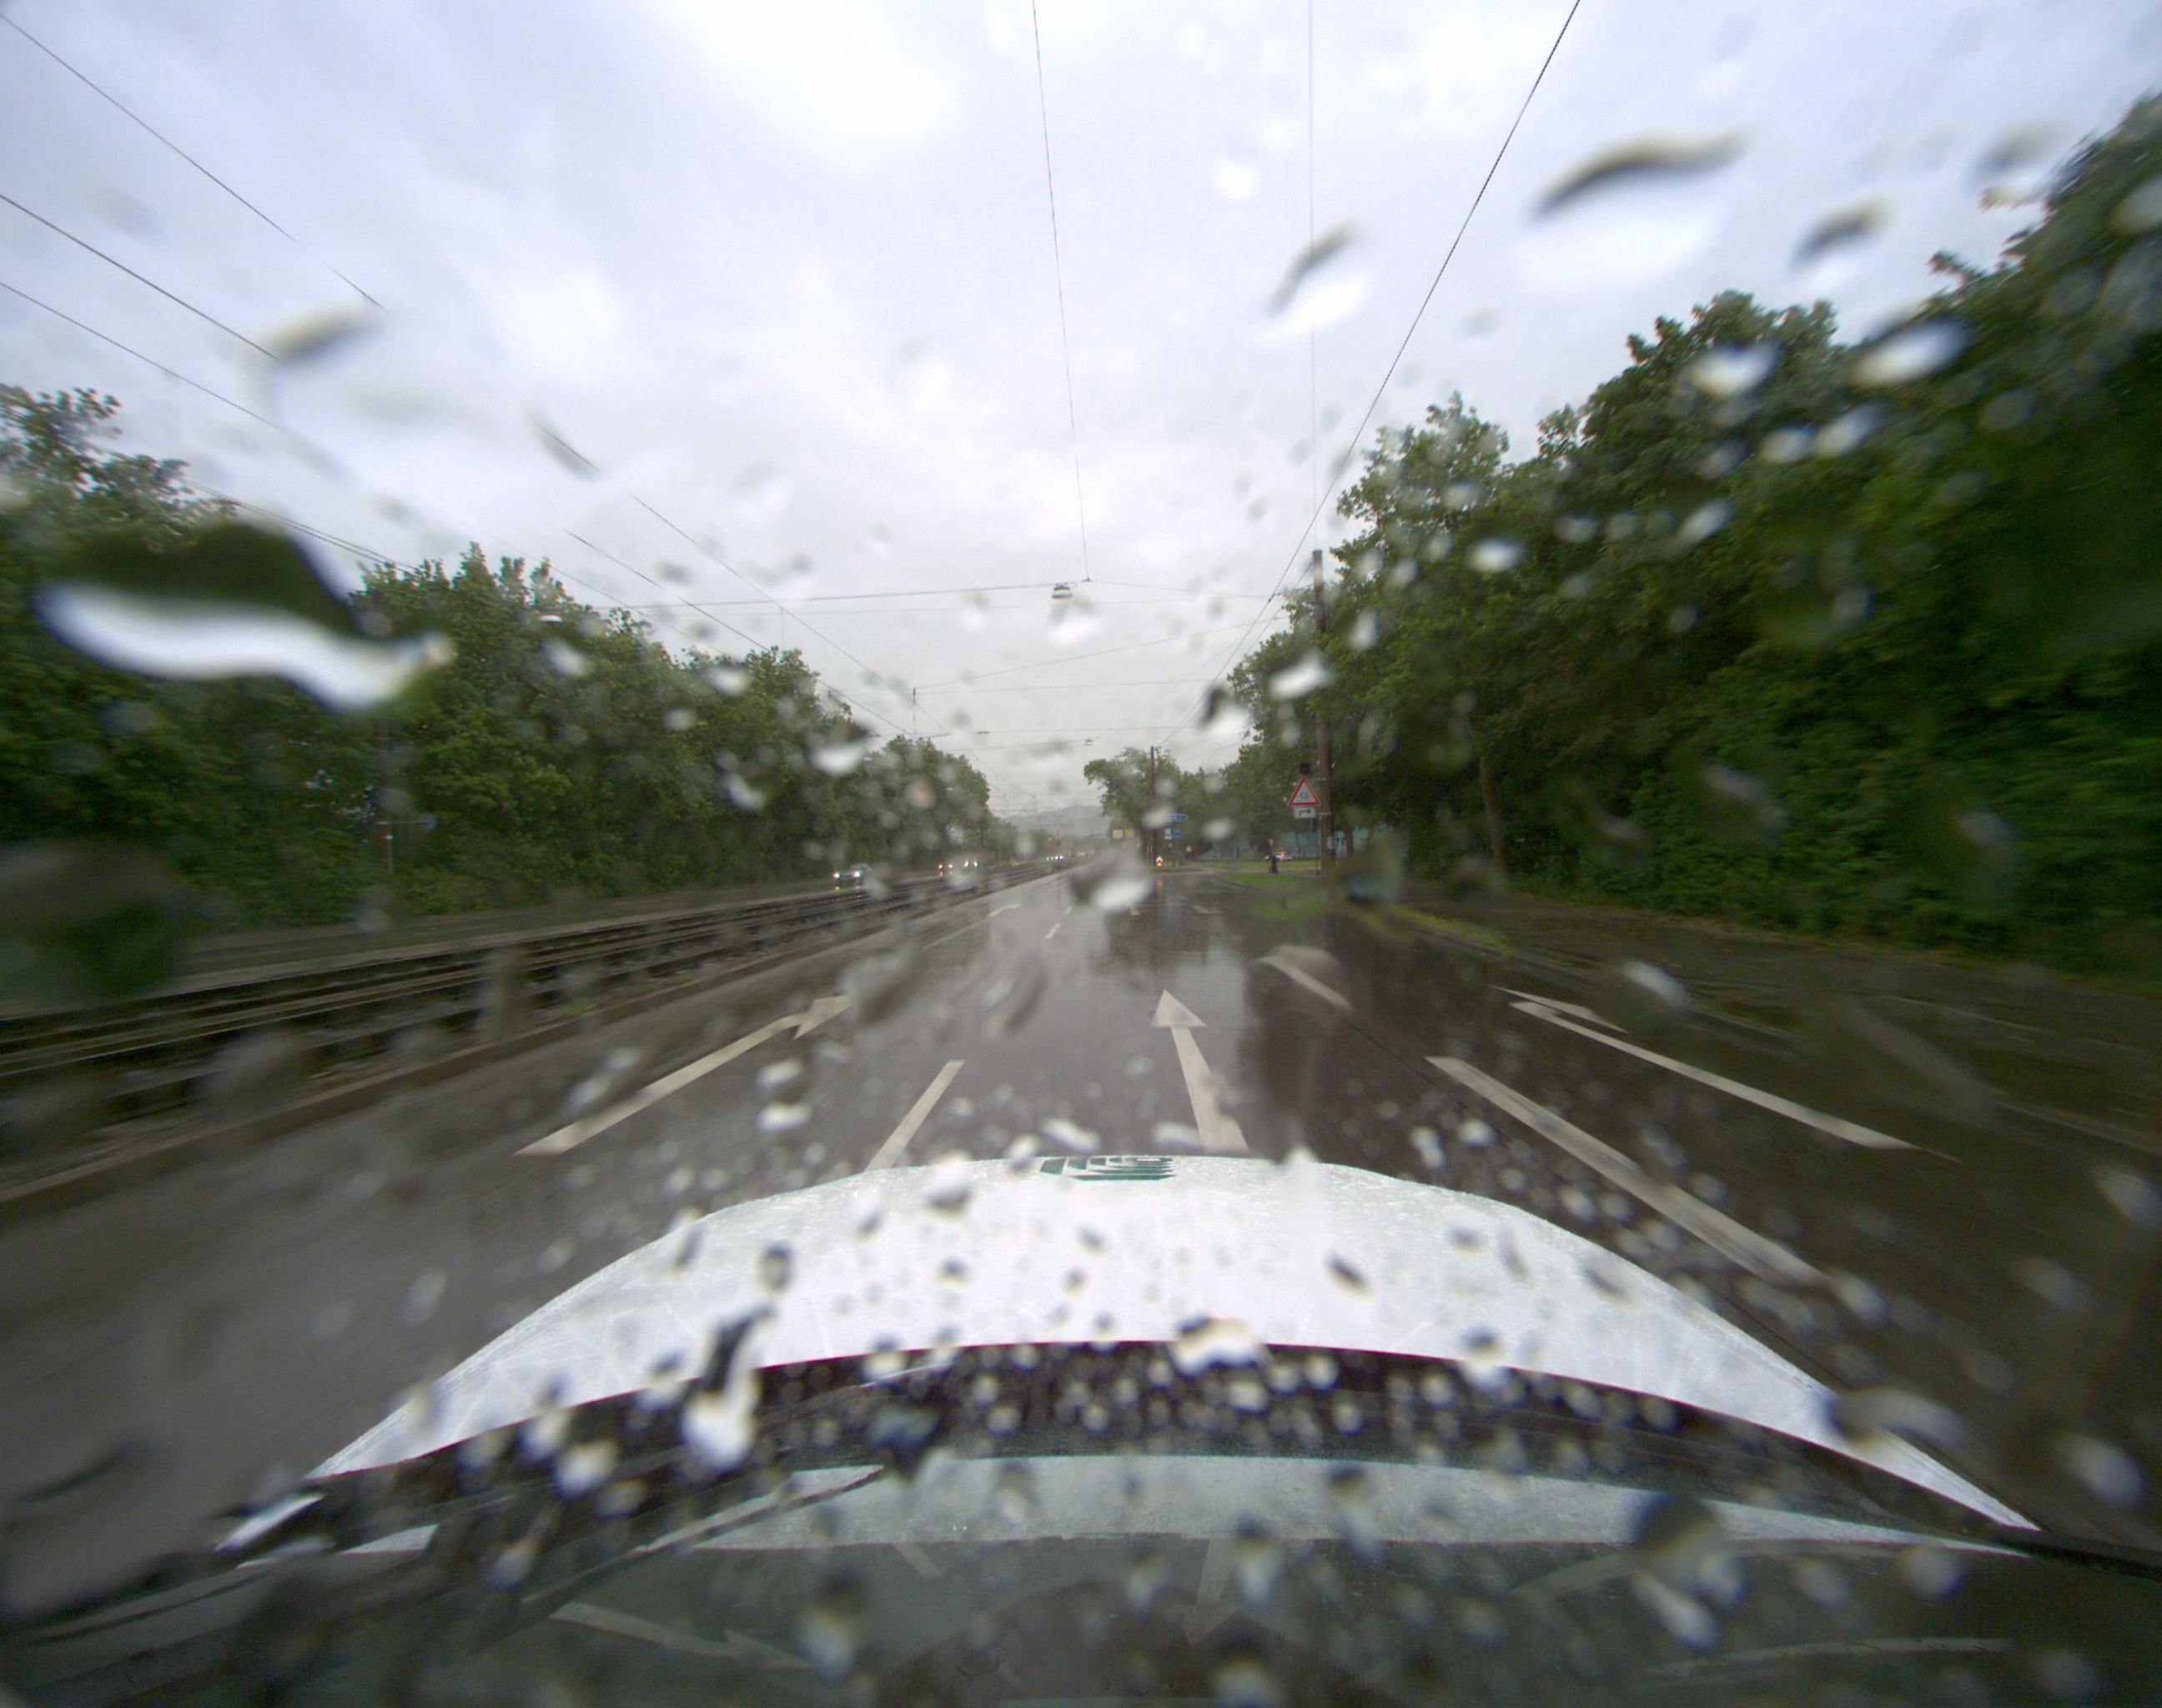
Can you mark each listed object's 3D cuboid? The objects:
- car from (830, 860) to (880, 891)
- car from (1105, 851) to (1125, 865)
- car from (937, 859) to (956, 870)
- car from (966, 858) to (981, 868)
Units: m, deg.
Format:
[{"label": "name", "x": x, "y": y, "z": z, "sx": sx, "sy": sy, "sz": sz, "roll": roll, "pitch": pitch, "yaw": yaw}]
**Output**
[{"label": "car", "x": -14.935, "y": 1.392, "z": 54.013, "sx": 1.986, "sy": 1.782, "sz": 4.001, "roll": 3, "pitch": 0, "yaw": 1}, {"label": "car", "x": 3.695, "y": 0.407, "z": 88.638, "sx": 2.069, "sy": 1.420, "sz": 4.002, "roll": -2, "pitch": 0, "yaw": 2}, {"label": "car", "x": -17.752, "y": 1.346, "z": 107.584, "sx": 1.765, "sy": 1.330, "sz": 4.380, "roll": -1, "pitch": 0, "yaw": 1}, {"label": "car", "x": -17.552, "y": 1.451, "z": 132.826, "sx": 1.684, "sy": 1.523, "sz": 4.956, "roll": -1, "pitch": 0, "yaw": 1}]
